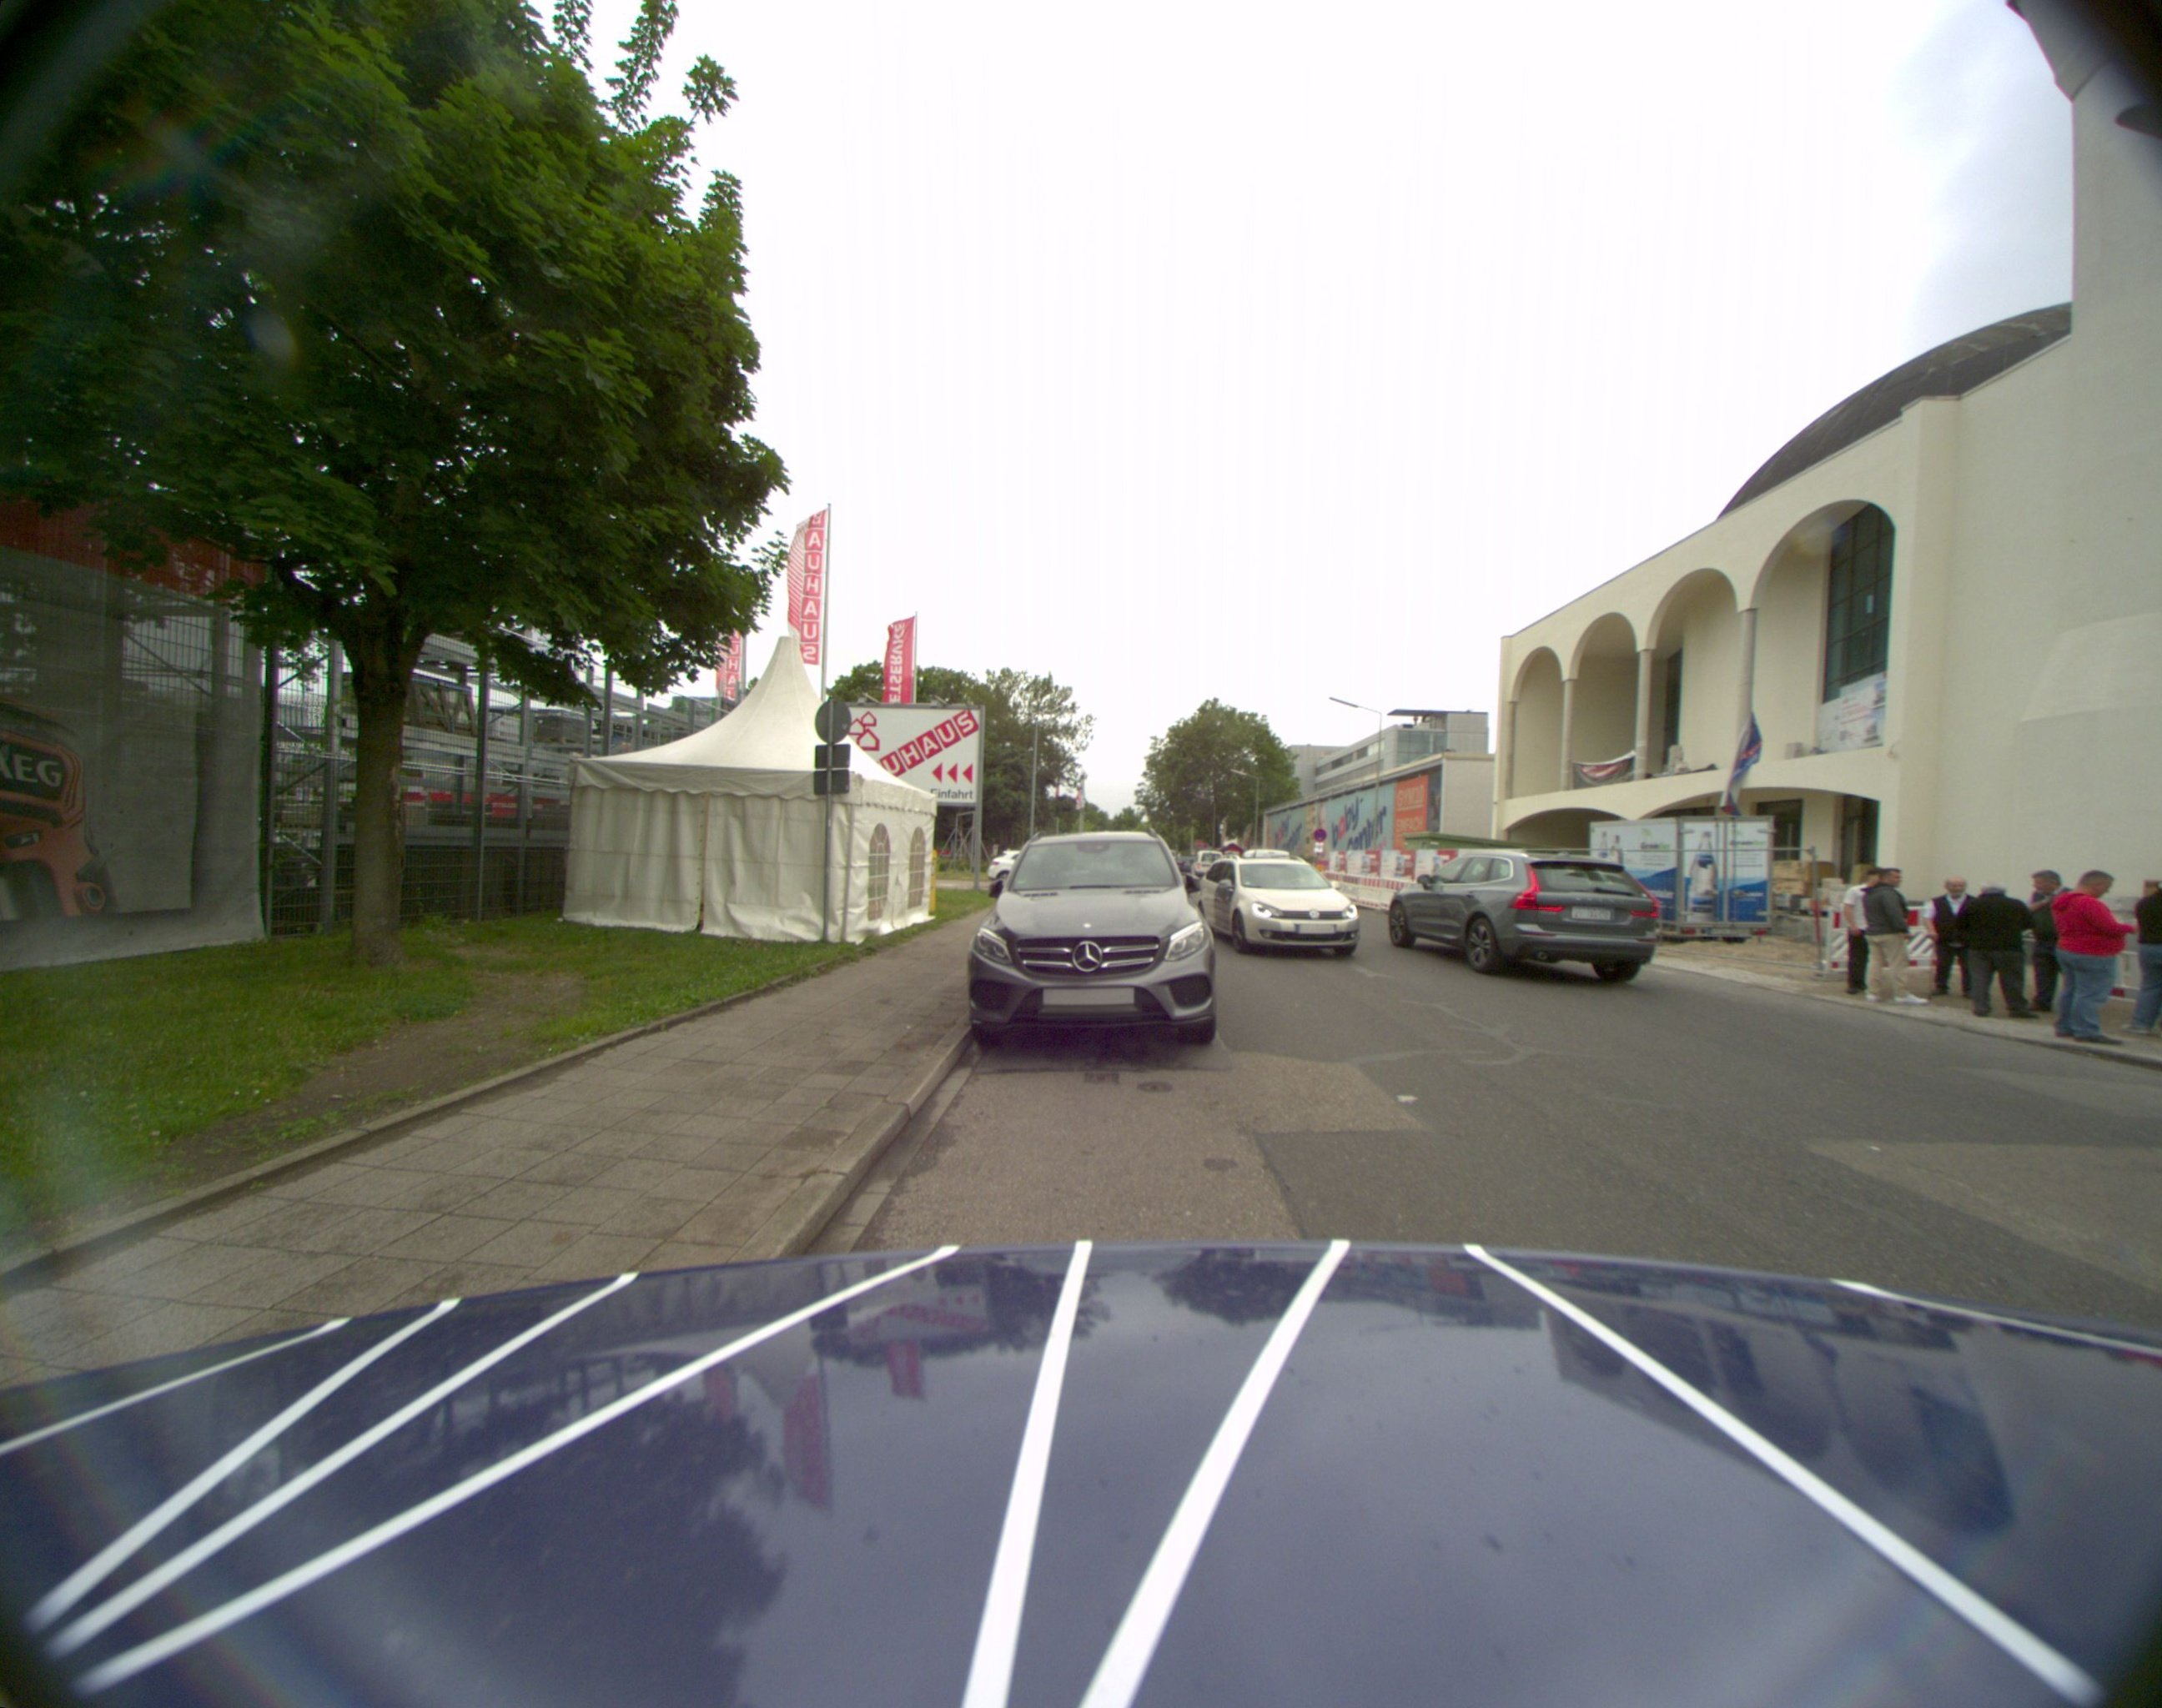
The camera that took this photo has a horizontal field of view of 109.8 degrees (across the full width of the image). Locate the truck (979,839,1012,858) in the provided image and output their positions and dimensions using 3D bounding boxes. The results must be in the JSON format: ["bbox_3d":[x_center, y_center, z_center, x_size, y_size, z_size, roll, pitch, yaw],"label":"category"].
[{"bbox_3d":[-11.610,-0.759,102.908,1.994,2.383,4.009,3,1,43],"label":"truck"}]

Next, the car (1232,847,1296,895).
[{"bbox_3d":[7.353,0.621,30.932,1.693,1.751,4.135,2,1,2],"label":"car"}]

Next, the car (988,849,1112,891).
[{"bbox_3d":[-1.151,0.585,28.528,4.492,1.420,1.938,1,2,-2],"label":"car"}]

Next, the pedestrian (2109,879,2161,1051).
[{"bbox_3d":[11.164,1.118,7.752,0.689,1.707,0.694,0,-2,-43],"label":"pedestrian"}]

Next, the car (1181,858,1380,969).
[{"bbox_3d":[3.034,0.820,12.577,1.758,1.443,4.294,0,1,-6],"label":"car"}]

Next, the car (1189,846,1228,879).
[{"bbox_3d":[7.965,0.492,47.749,1.799,1.797,4.383,3,2,2],"label":"car"}]

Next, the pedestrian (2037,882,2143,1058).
[{"bbox_3d":[10.161,1.123,7.659,0.533,1.682,0.512,0,-2,-27],"label":"pedestrian"}]

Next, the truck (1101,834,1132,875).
[{"bbox_3d":[2.332,0.006,49.919,1.852,2.598,4.000,-1,1,3],"label":"truck"}]

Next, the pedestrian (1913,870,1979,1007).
[{"bbox_3d":[11.431,1.091,10.041,0.492,1.738,0.527,1,-2,-40],"label":"pedestrian"}]

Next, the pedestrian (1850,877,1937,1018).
[{"bbox_3d":[10.496,1.176,9.838,0.689,1.738,0.492,-2,-2,42],"label":"pedestrian"}]

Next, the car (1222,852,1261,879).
[{"bbox_3d":[10.991,0.748,52.201,1.928,1.565,4.150,5,1,4],"label":"car"}]

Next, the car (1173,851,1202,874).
[{"bbox_3d":[8.062,0.613,57.837,1.733,1.562,3.947,4,1,3],"label":"car"}]

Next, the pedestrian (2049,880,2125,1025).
[{"bbox_3d":[11.936,1.143,9.023,0.541,1.603,0.489,-6,5,-36],"label":"pedestrian"}]

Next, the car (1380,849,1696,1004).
[{"bbox_3d":[6.172,0.823,11.051,1.938,1.674,4.495,3,1,2],"label":"car"}]

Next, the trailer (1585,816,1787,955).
[{"bbox_3d":[12.612,0.584,16.121,1.801,2.592,3.192,2,1,6],"label":"trailer"}]

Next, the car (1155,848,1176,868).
[{"bbox_3d":[9.166,0.416,82.766,1.931,2.002,4.955,2,1,4],"label":"car"}]

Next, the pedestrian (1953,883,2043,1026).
[{"bbox_3d":[10.774,1.146,8.945,0.570,1.601,0.492,-2,-2,42],"label":"pedestrian"}]

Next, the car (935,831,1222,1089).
[{"bbox_3d":[0.120,0.709,7.379,1.913,1.731,4.481,-1,0,4],"label":"car"}]

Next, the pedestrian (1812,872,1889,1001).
[{"bbox_3d":[10.798,1.134,10.682,0.689,1.738,0.492,-2,-2,42],"label":"pedestrian"}]

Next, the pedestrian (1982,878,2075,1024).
[{"bbox_3d":[11.391,1.136,9.140,0.411,1.682,0.572,0,-2,-24],"label":"pedestrian"}]

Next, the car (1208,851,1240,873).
[{"bbox_3d":[11.348,0.591,60.641,1.928,1.565,4.150,5,1,4],"label":"car"}]
